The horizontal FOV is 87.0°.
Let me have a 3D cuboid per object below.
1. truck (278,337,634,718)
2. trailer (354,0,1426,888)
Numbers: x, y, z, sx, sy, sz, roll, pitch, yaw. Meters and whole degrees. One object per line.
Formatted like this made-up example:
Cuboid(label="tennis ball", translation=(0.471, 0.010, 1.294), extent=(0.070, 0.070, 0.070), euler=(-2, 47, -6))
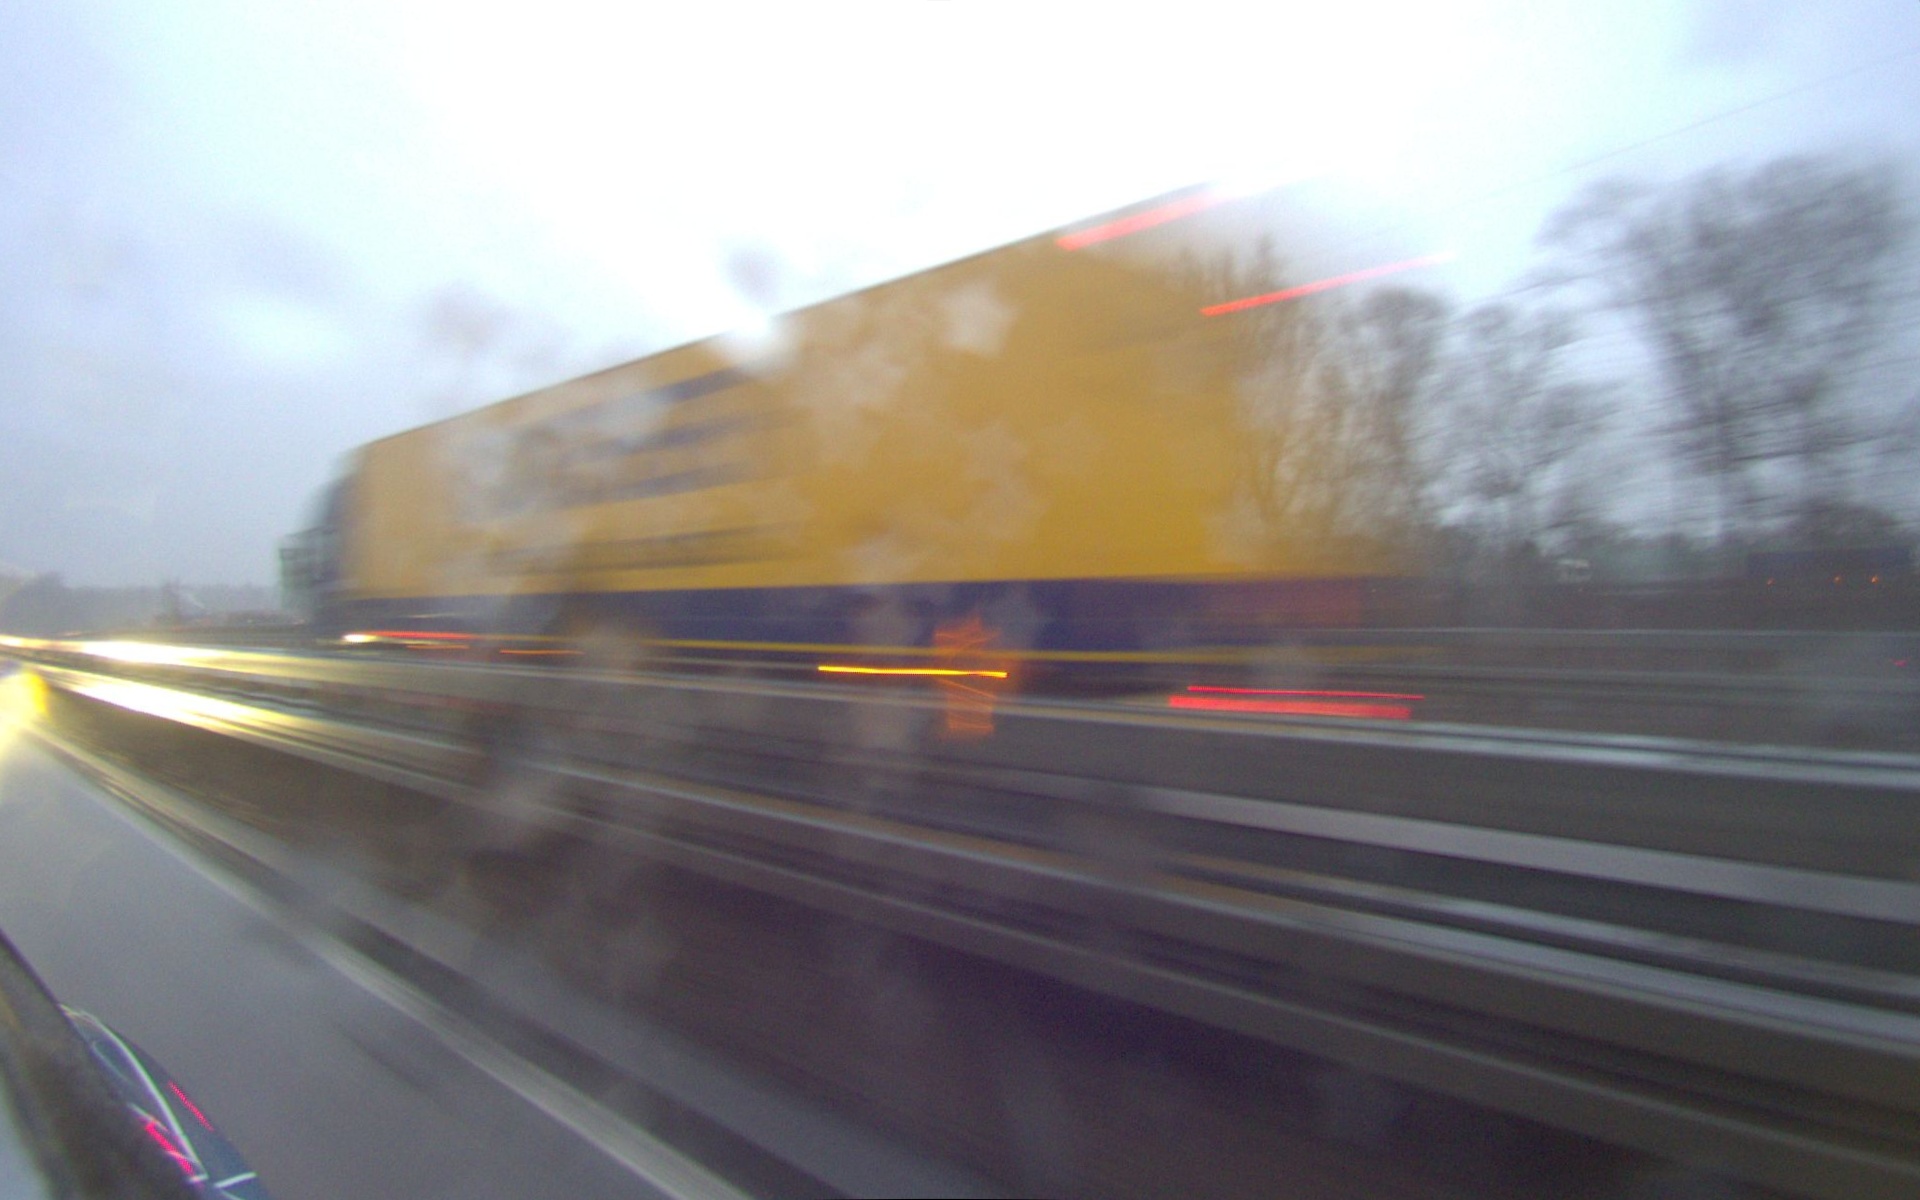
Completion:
Cuboid(label="truck", translation=(-7.817, -0.836, 15.310), extent=(6.354, 4.615, 2.568), euler=(-1, -1, 41))
Cuboid(label="trailer", translation=(-2.570, -0.847, 10.504), extent=(13.322, 4.619, 2.600), euler=(0, -1, 42))
